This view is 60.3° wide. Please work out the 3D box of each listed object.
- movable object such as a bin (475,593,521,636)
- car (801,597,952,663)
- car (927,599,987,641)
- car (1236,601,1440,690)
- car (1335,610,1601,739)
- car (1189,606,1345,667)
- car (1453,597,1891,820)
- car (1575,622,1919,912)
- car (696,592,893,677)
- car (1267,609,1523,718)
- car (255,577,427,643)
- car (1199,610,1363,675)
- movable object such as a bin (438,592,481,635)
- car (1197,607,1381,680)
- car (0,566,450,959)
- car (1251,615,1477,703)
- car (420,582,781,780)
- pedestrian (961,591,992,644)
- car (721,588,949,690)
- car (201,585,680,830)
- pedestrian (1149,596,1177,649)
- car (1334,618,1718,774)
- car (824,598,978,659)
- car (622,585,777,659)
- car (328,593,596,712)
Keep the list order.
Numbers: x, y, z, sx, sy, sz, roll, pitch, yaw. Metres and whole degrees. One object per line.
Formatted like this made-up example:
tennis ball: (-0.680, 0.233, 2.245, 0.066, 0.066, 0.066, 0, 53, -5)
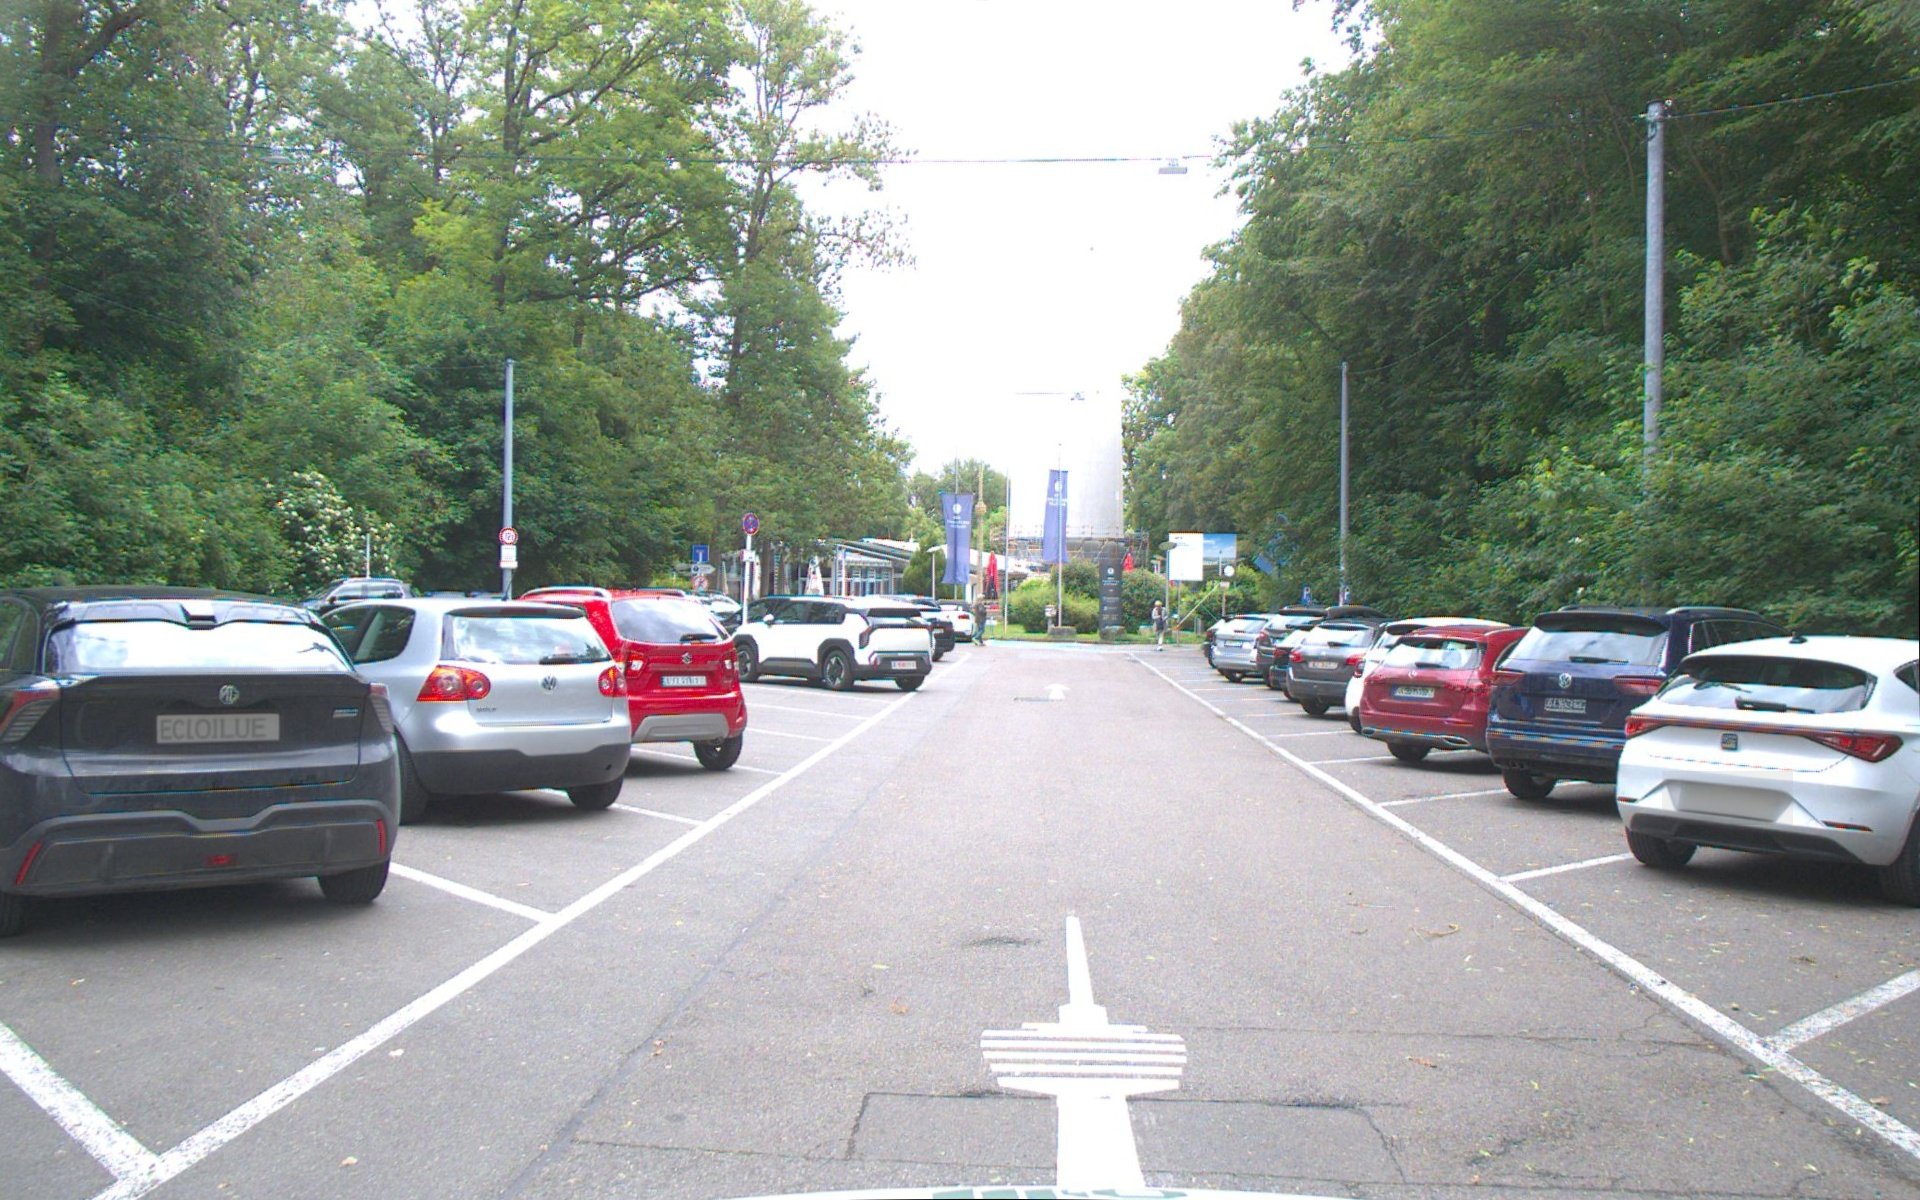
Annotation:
movable object such as a bin: (-14.632, 0.445, 52.373, 1.154, 1.330, 1.302, 1, 0, -26)
car: (-2.093, 0.713, 40.590, 1.757, 1.468, 3.789, 1, 0, -41)
car: (-0.066, 0.702, 60.356, 1.853, 1.453, 4.002, 1, 0, 5)
car: (7.647, 0.890, 33.268, 4.225, 1.665, 1.936, 1, 0, -42)
car: (6.743, 0.935, 21.832, 3.548, 1.531, 1.710, 1, 0, -40)
car: (8.122, 0.957, 43.600, 4.167, 1.488, 1.871, 2, 0, -41)
car: (6.276, 0.856, 14.397, 4.078, 1.646, 1.817, 2, 0, -39)
car: (5.900, 0.920, 10.614, 4.078, 1.464, 1.844, 2, 0, -39)
car: (-3.419, 0.667, 33.746, 3.929, 1.581, 1.862, 1, 0, 42)
car: (6.672, 0.921, 25.149, 4.150, 1.483, 1.778, 1, 0, -42)
car: (-16.945, 0.281, 45.354, 4.034, 1.714, 1.853, 1, 0, -41)
car: (7.759, 0.997, 39.766, 3.966, 1.447, 1.881, 1, 0, -42)
movable object such as a bin: (-15.719, 0.420, 51.910, 1.109, 1.338, 1.175, 1, 0, -26)
car: (7.240, 0.922, 36.241, 3.958, 1.492, 1.811, 1, 0, -38)
car: (-4.337, 0.642, 8.680, 1.812, 1.550, 4.043, 2, -1, -39)
car: (7.192, 0.998, 29.245, 4.229, 1.401, 1.934, 1, 0, -44)
car: (-3.450, 0.667, 15.523, 1.674, 1.613, 3.595, 1, 0, -44)
pedestrian: (0.553, 0.597, 56.001, 0.879, 1.755, 0.761, 1, 0, -14)
car: (-2.263, 0.636, 29.241, 1.832, 1.624, 4.123, 1, 0, -44)
car: (-3.999, 0.675, 12.375, 1.862, 1.509, 3.936, 2, -1, -44)
pedestrian: (6.904, 0.764, 56.158, 0.746, 1.755, 0.897, 1, 0, 19)
car: (6.156, 0.966, 17.802, 4.251, 1.438, 1.902, 2, 0, -38)
car: (-1.605, 0.726, 43.795, 1.746, 1.468, 4.211, 1, 0, -43)
car: (-6.492, 0.519, 40.972, 1.884, 1.692, 3.936, 2, 0, -43)
car: (-7.027, 0.673, 23.100, 1.855, 1.467, 4.246, 1, 0, -44)
